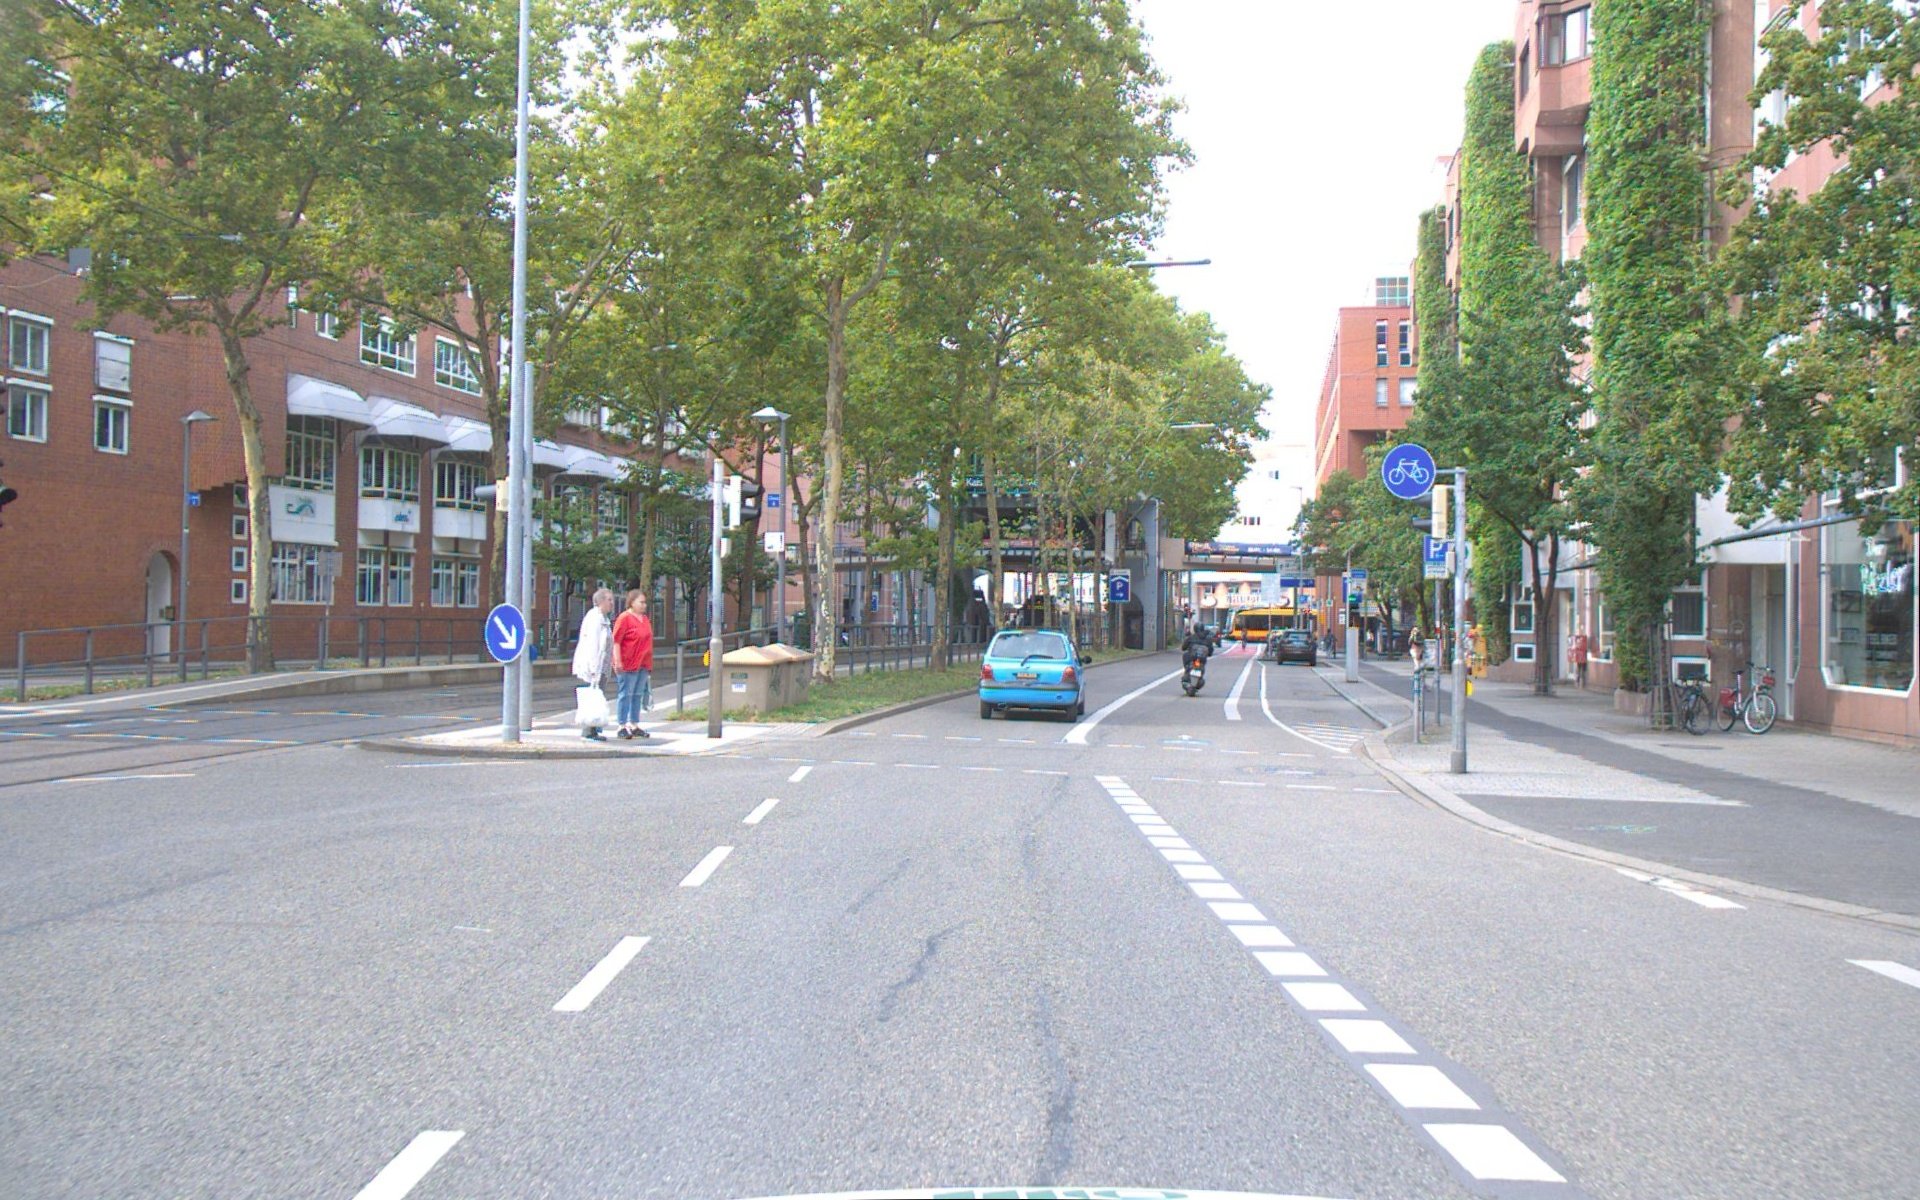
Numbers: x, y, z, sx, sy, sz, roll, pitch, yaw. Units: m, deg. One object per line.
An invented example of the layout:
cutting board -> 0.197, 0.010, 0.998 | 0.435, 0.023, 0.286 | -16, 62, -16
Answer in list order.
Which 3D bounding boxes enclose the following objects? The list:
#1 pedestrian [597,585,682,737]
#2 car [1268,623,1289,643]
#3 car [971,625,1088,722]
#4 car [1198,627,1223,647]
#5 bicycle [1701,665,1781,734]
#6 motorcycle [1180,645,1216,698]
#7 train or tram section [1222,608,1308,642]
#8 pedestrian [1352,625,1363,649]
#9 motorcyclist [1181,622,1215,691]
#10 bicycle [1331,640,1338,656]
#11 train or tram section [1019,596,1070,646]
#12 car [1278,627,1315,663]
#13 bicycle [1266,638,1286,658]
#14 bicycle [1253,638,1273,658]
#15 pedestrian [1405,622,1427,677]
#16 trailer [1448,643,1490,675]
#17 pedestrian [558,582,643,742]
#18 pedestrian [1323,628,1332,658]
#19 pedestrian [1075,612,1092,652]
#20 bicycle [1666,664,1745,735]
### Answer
pedestrian -> -3.791, 0.712, 19.612 | 0.542, 1.748, 0.890 | 0, -1, 26
car -> 25.764, 2.652, 133.607 | 1.662, 1.629, 4.003 | 0, -1, 11
car -> 1.204, 1.145, 27.156 | 1.606, 1.410, 3.845 | 1, 0, 7
car -> 21.172, 3.105, 139.785 | 1.846, 1.652, 4.003 | 1, -1, 11
bicycle -> 12.549, 1.583, 26.616 | 0.604, 1.026, 1.736 | 1, -1, 5
motorcycle -> 5.336, 1.586, 37.117 | 0.751, 1.126, 2.209 | 0, -1, 7
train or tram section -> 30.705, 2.530, 166.541 | 8.664, 3.311, 2.381 | 1, -1, -22
pedestrian -> 26.693, 2.463, 111.117 | 0.655, 1.589, 0.729 | 1, -1, 6
motorcyclist -> 5.345, 1.259, 37.189 | 0.743, 1.546, 1.018 | 0, -1, 7
bicycle -> 22.797, 2.914, 100.646 | 0.348, 0.956, 1.209 | 0, -1, 11
train or tram section -> 5.857, 1.447, 113.363 | 2.338, 3.311, 8.825 | 0, -1, 10
car -> 15.636, 2.075, 76.929 | 1.662, 1.629, 4.003 | 0, -1, 11
bicycle -> 16.961, 2.575, 88.781 | 0.552, 1.026, 2.007 | 1, -1, -4
bicycle -> 16.300, 2.587, 88.886 | 0.552, 1.026, 2.007 | 1, -1, -4
pedestrian -> 15.798, 1.712, 57.329 | 0.633, 1.891, 0.783 | 1, -1, 9
trailer -> 17.945, 2.063, 58.288 | 0.974, 1.077, 1.603 | 0, -1, 35
pedestrian -> -4.051, 0.687, 18.686 | 0.541, 1.748, 0.891 | 0, -1, 17
pedestrian -> 22.332, 2.601, 100.544 | 0.499, 1.790, 0.539 | 0, -1, 11
pedestrian -> 5.946, 1.545, 79.466 | 0.712, 1.891, 0.871 | 0, -1, 11
bicycle -> 11.867, 1.568, 26.366 | 0.604, 1.026, 1.736 | 1, -1, 5
